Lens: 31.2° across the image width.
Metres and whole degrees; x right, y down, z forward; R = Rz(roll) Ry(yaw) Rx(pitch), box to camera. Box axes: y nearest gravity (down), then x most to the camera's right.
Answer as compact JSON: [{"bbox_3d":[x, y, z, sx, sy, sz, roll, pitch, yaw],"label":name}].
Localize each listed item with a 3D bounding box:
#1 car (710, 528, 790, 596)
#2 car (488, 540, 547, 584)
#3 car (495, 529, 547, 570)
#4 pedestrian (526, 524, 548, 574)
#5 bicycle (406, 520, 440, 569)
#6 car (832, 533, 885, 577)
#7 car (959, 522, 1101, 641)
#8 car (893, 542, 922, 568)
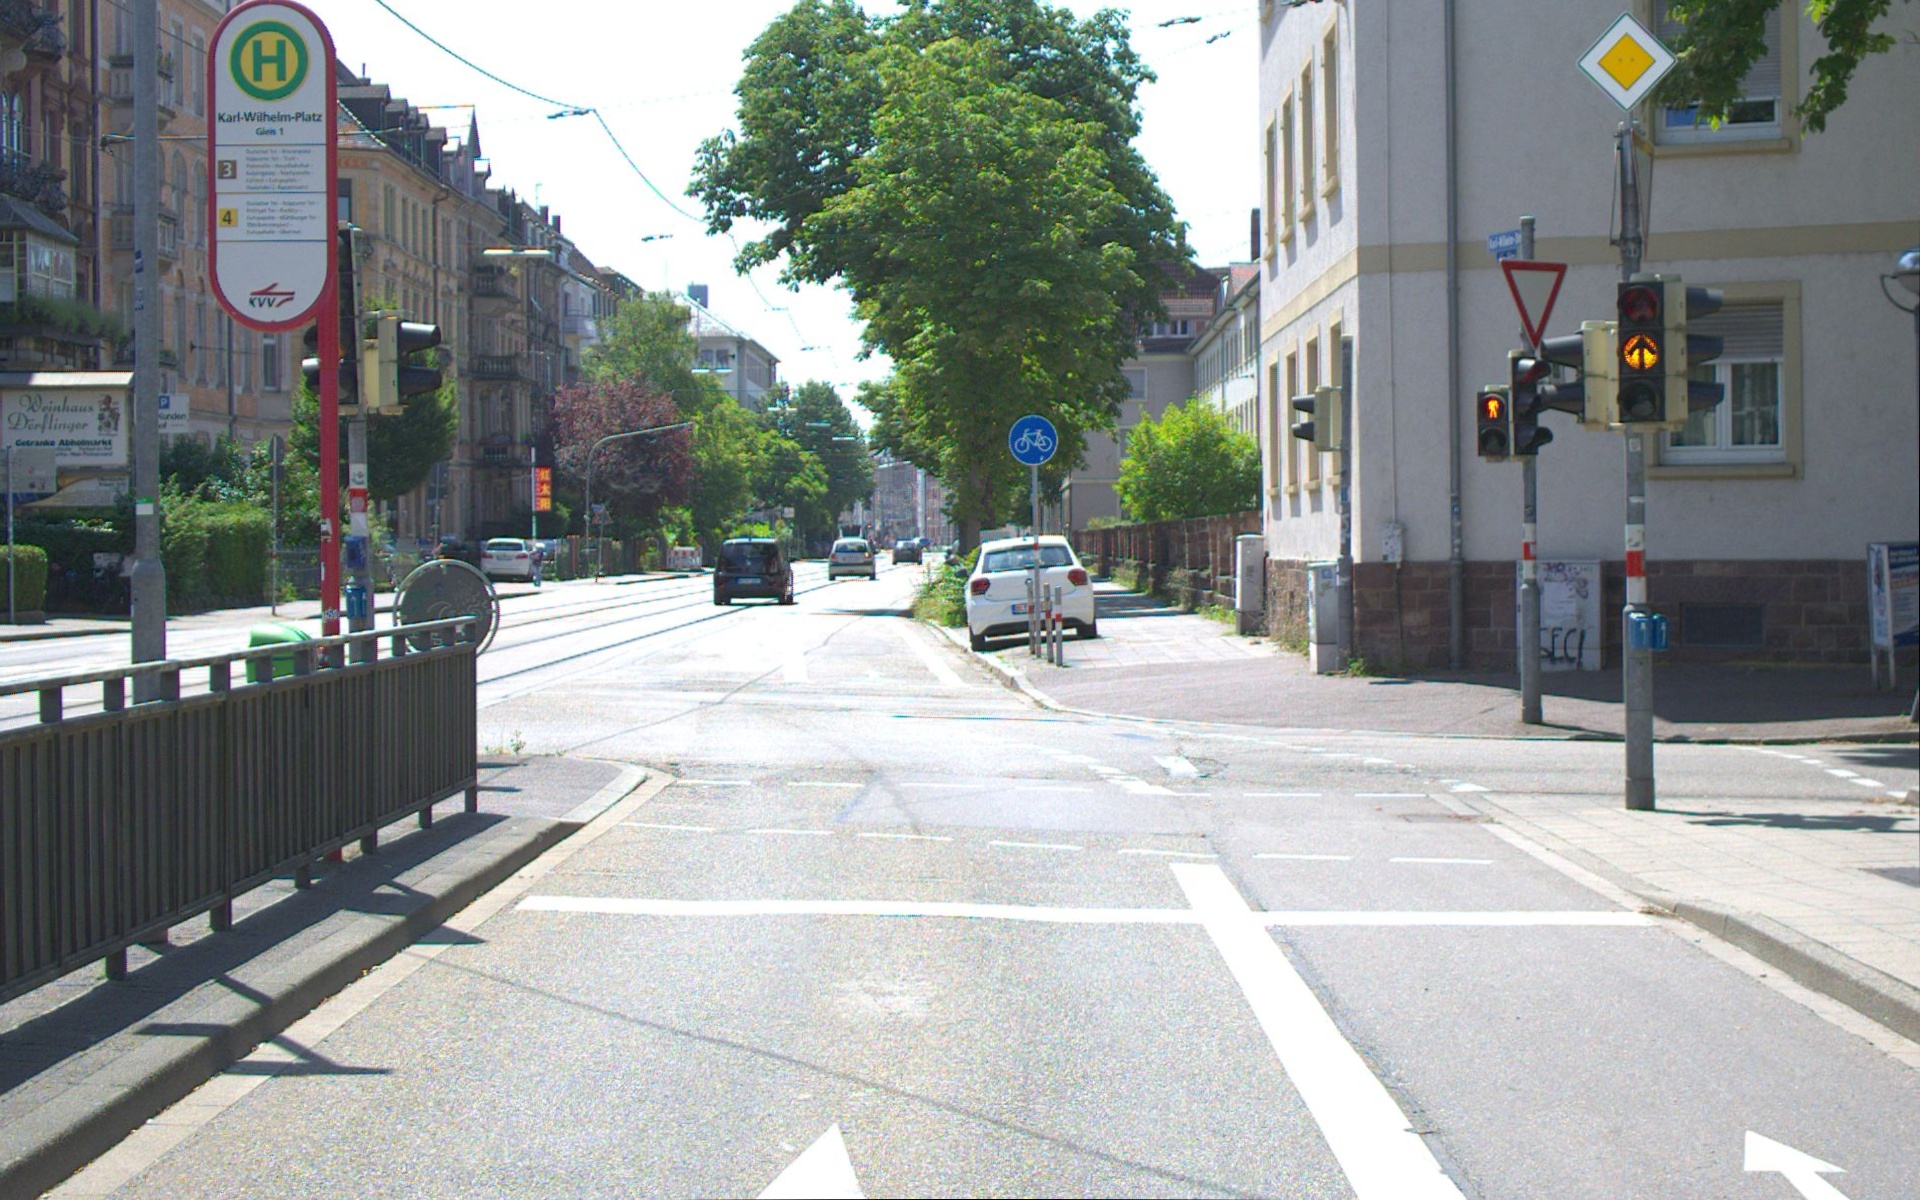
[{"bbox_3d":[-4.693,-0.854,77.064,1.525,1.439,3.365,-2,1,1],"label":"car"},{"bbox_3d":[-16.163,-1.395,125.674,1.684,1.468,3.939,-3,1,-2],"label":"car"},{"bbox_3d":[-17.127,-1.966,134.269,1.628,1.468,3.564,-3,1,-2],"label":"car"},{"bbox_3d":[-14.608,-1.747,118.820,0.678,1.721,0.677,0,0,0],"label":"pedestrian"},{"bbox_3d":[-15.334,-1.568,98.177,0.577,1.383,2.501,0,1,0],"label":"bicycle"},{"bbox_3d":[-3.648,-1.626,123.727,1.747,1.468,3.938,-3,1,0],"label":"car"},{"bbox_3d":[0.920,-0.265,47.202,1.747,1.468,3.938,-3,1,0],"label":"car"},{"bbox_3d":[-3.205,-2.745,208.855,1.628,1.468,3.564,-3,1,-2],"label":"car"}]
